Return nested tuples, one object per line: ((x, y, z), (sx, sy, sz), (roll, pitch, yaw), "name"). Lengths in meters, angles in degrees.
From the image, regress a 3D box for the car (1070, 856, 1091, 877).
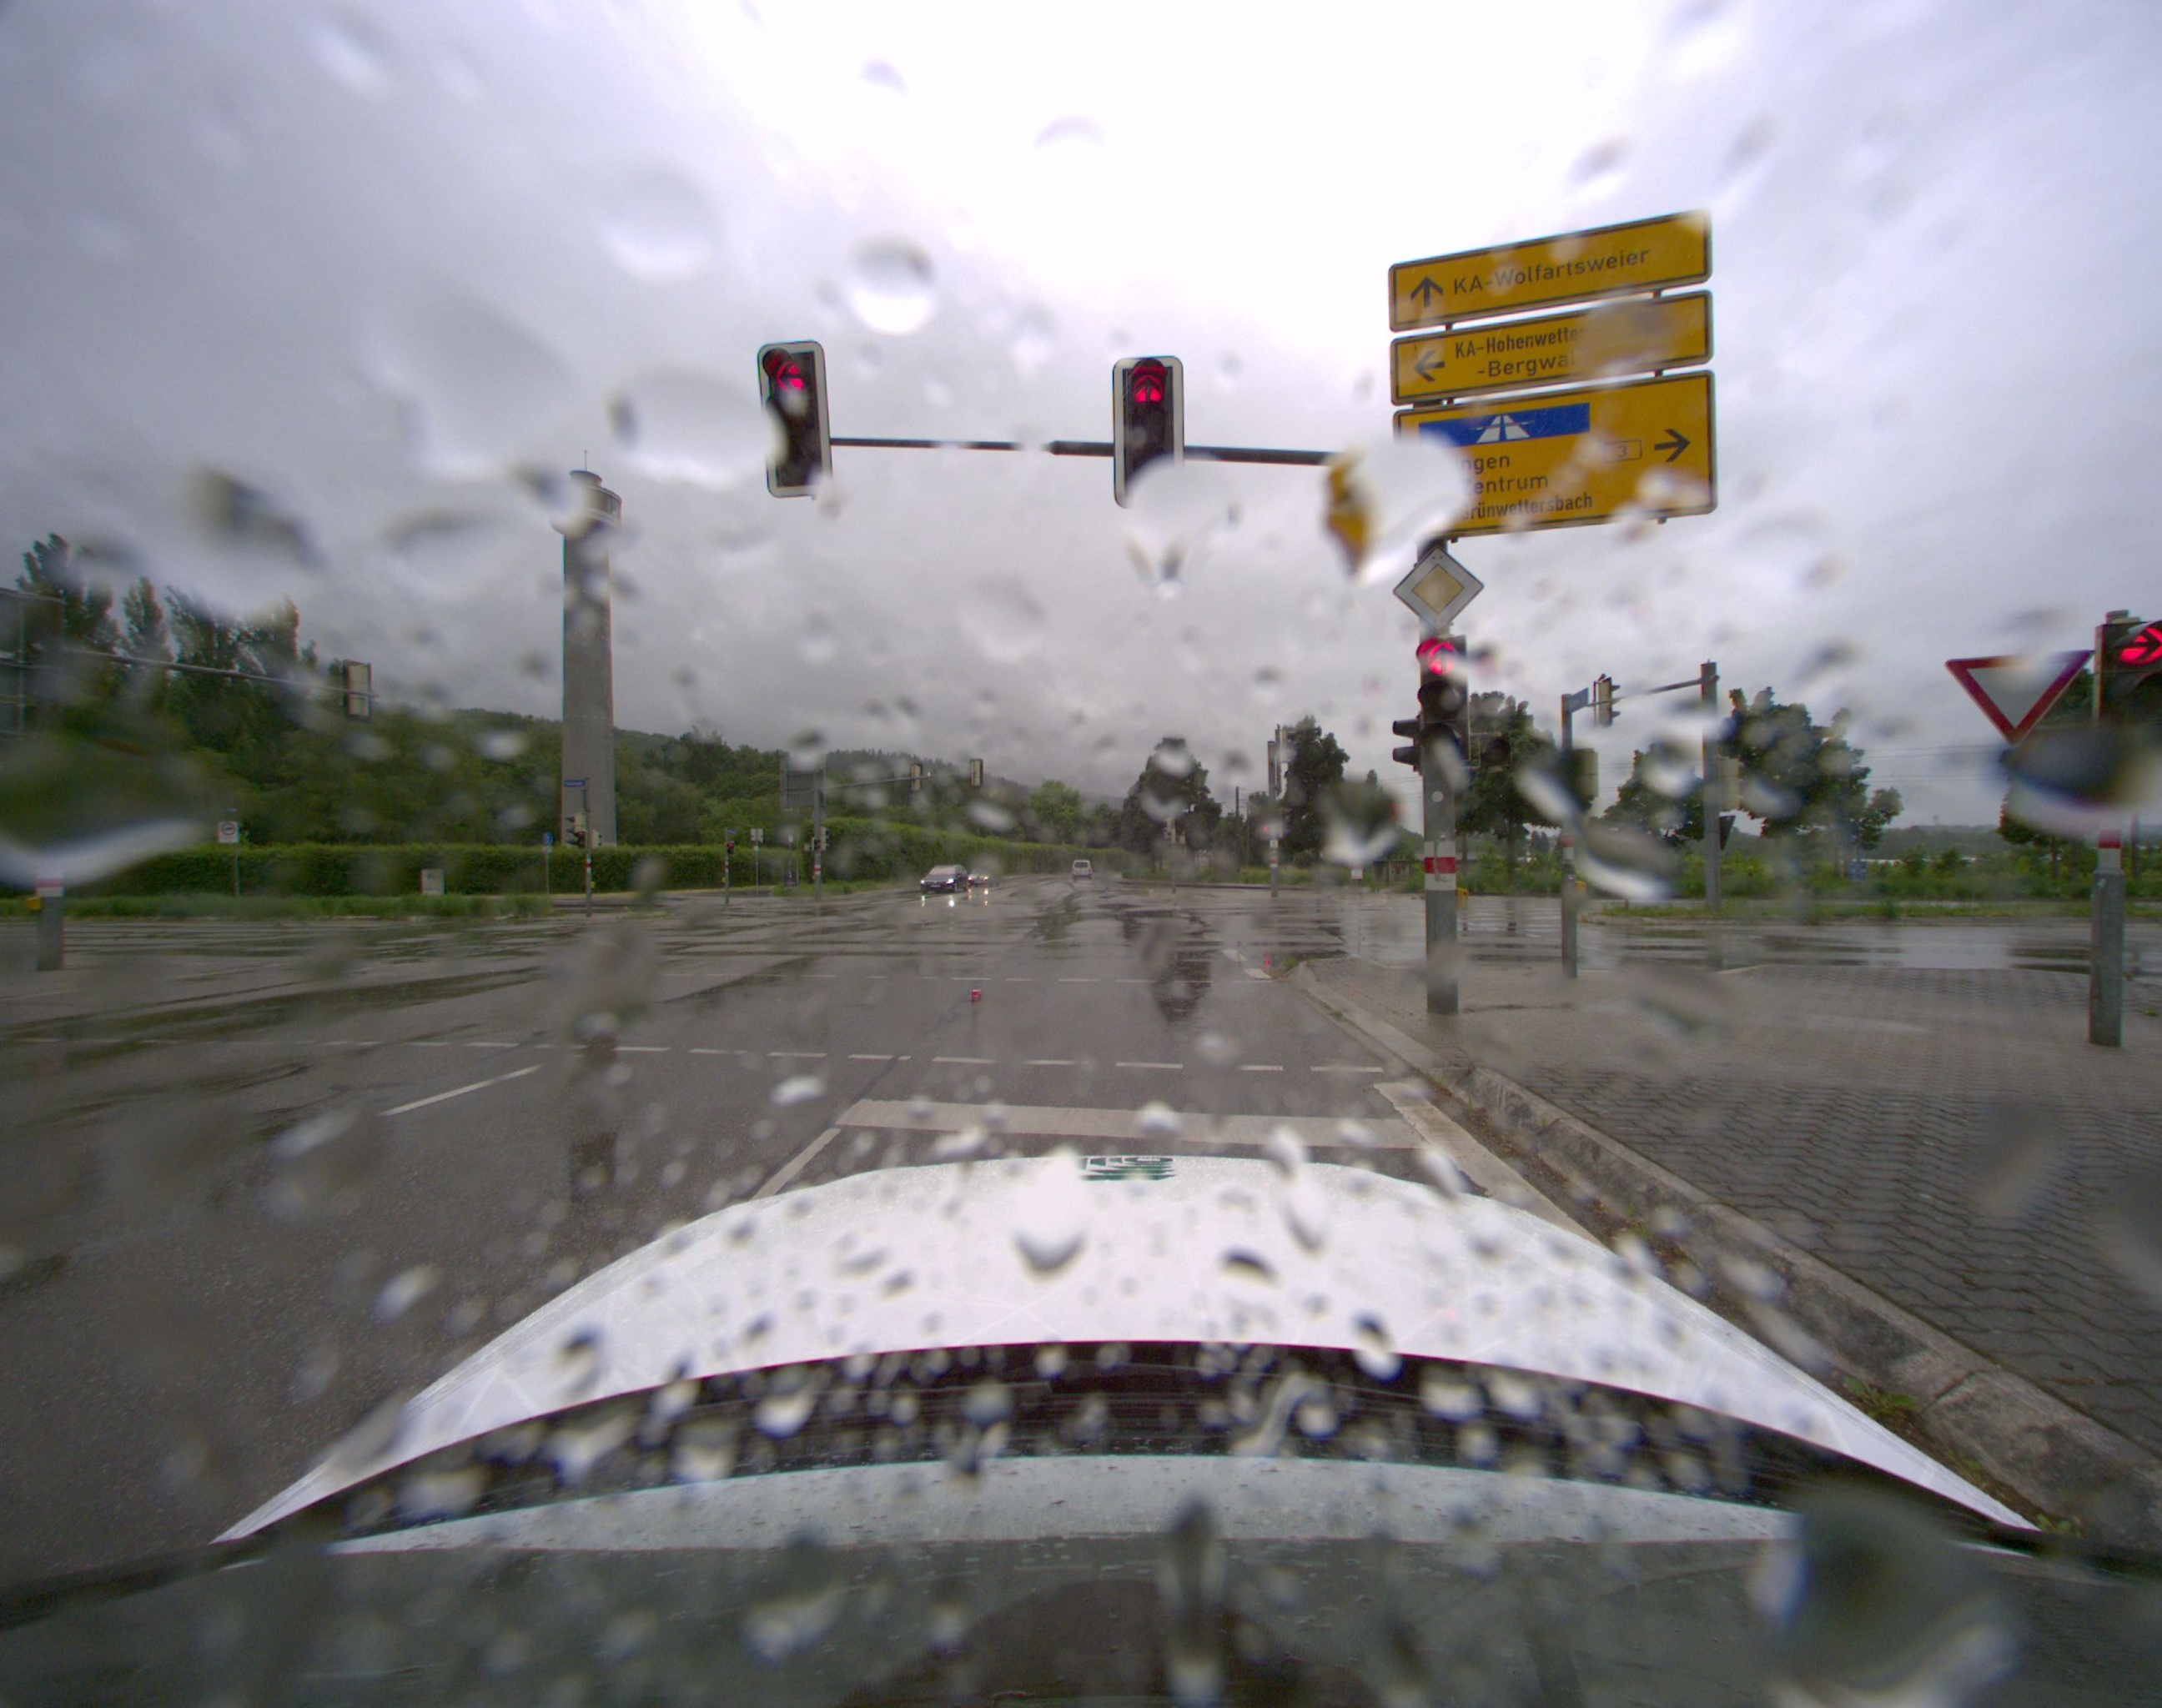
((-0.024, 1.174, 78.004), (1.947, 1.904, 4.119), (-1, 0, 0), "car")

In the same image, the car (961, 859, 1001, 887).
((-6.649, 1.230, 54.489), (2.029, 1.708, 4.067), (-1, 0, 2), "car")

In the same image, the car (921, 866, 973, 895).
((-7.148, 1.385, 43.791), (1.700, 1.466, 4.459), (-1, 0, 5), "car")
